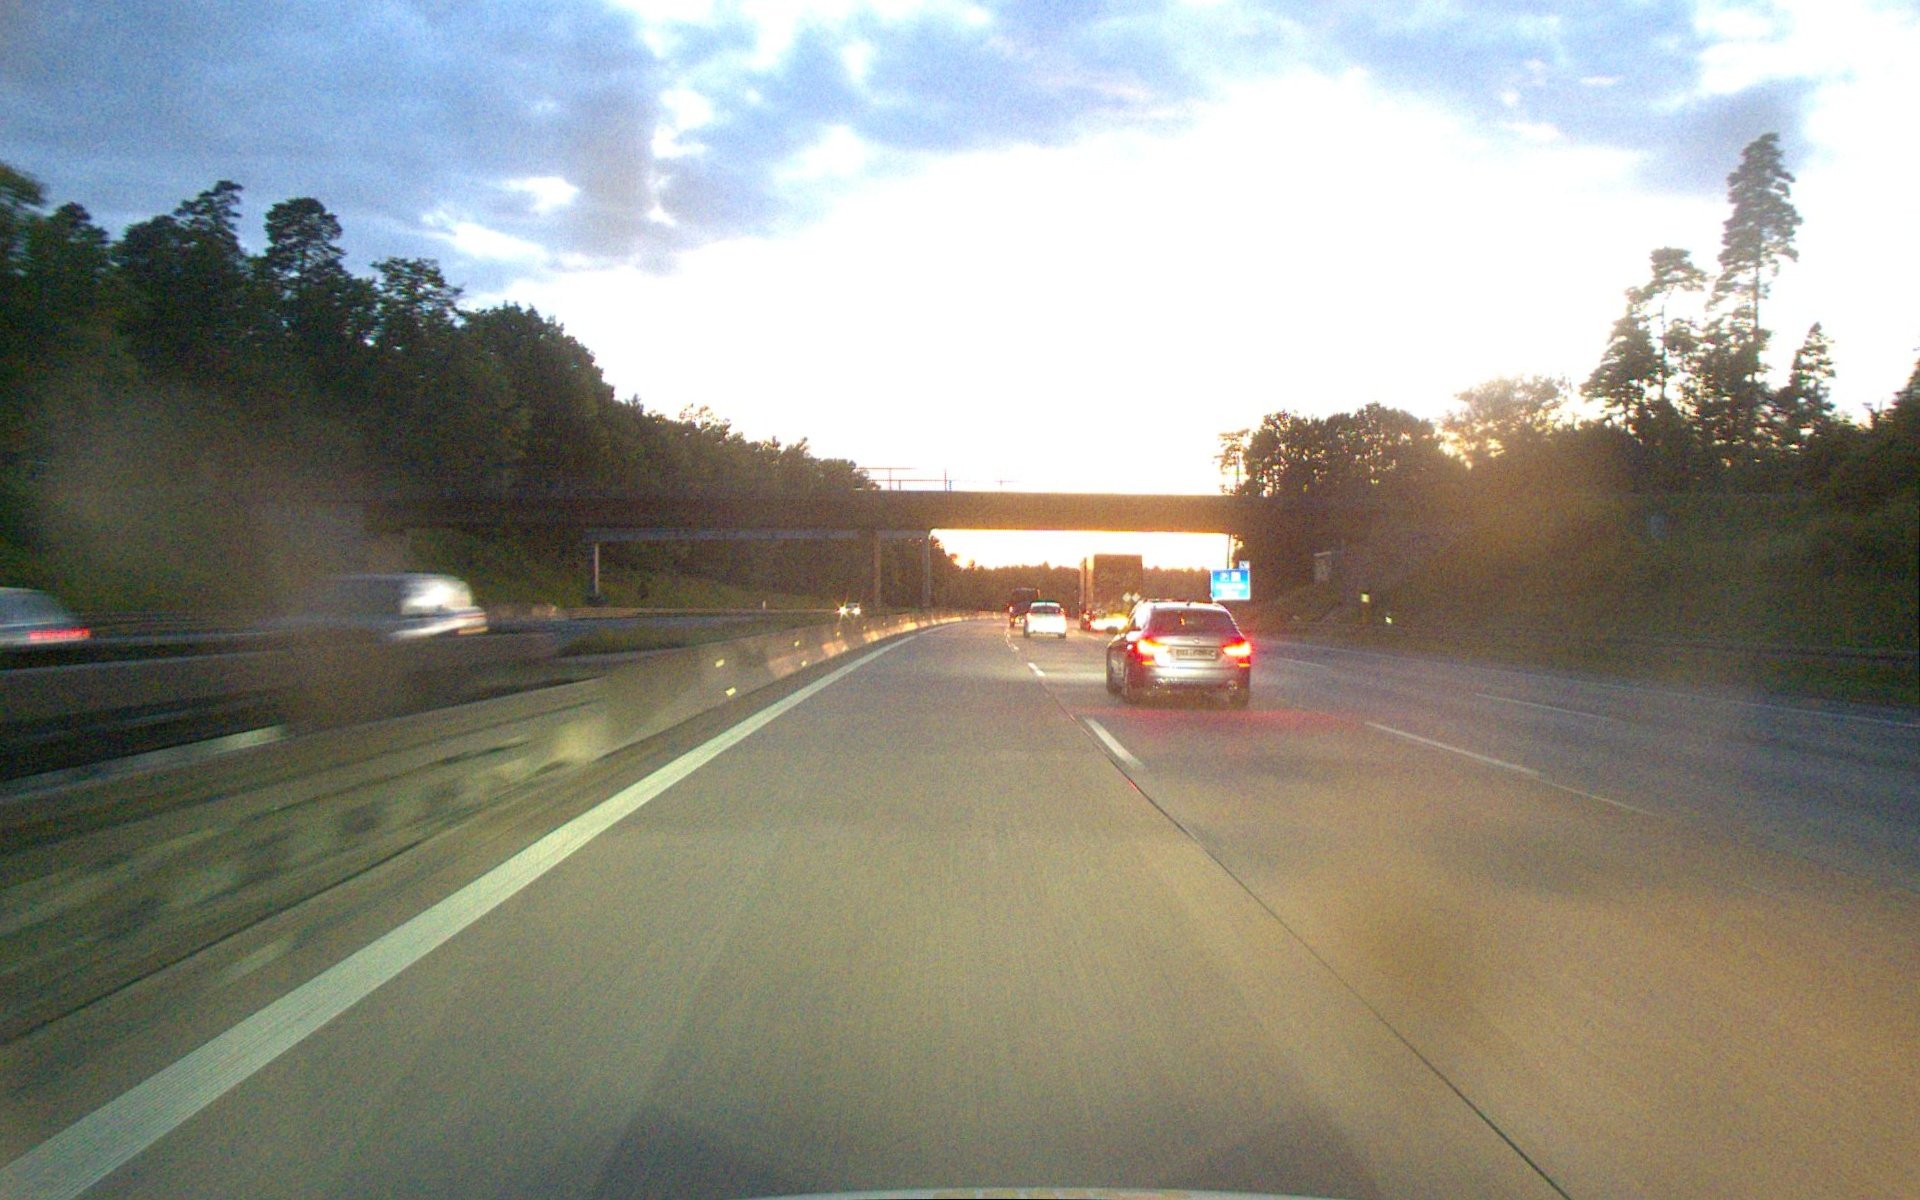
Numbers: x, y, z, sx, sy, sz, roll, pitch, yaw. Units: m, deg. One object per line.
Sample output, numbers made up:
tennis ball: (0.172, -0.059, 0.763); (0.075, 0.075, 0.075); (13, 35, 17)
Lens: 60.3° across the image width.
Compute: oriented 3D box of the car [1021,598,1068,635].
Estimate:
car: (3.525, 0.668, 69.665); (1.821, 1.467, 3.721); (0, 1, 1)

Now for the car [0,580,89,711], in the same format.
car: (-11.773, 0.521, 18.408); (1.837, 1.468, 4.450); (0, 1, -1)

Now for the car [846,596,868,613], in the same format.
car: (-10.254, 0.433, 164.691); (1.773, 1.547, 4.430); (0, 1, 1)

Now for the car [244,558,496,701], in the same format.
car: (-8.248, 0.345, 23.656); (1.953, 1.828, 4.830); (0, 1, -1)

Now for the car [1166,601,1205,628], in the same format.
car: (12.758, 0.817, 93.651); (1.820, 1.467, 4.113); (0, -1, 3)

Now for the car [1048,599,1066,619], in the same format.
car: (12.798, 1.220, 218.077); (2.121, 2.461, 5.564); (0, -1, 1)

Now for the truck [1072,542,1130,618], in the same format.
truck: (8.332, -1.082, 98.969); (2.825, 4.172, 10.833); (1, -1, 2)

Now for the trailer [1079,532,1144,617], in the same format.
trailer: (7.996, -1.258, 88.413); (2.847, 4.172, 10.359); (1, -1, 2)

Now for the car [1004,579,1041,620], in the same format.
car: (3.920, 0.010, 104.440); (2.121, 2.461, 5.563); (0, -1, 0)

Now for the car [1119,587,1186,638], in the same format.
car: (6.672, 0.425, 57.783); (1.863, 1.672, 5.053); (0, 0, 1)

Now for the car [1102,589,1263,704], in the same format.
car: (3.348, 0.636, 25.832); (1.870, 1.564, 5.232); (0, 1, 1)
